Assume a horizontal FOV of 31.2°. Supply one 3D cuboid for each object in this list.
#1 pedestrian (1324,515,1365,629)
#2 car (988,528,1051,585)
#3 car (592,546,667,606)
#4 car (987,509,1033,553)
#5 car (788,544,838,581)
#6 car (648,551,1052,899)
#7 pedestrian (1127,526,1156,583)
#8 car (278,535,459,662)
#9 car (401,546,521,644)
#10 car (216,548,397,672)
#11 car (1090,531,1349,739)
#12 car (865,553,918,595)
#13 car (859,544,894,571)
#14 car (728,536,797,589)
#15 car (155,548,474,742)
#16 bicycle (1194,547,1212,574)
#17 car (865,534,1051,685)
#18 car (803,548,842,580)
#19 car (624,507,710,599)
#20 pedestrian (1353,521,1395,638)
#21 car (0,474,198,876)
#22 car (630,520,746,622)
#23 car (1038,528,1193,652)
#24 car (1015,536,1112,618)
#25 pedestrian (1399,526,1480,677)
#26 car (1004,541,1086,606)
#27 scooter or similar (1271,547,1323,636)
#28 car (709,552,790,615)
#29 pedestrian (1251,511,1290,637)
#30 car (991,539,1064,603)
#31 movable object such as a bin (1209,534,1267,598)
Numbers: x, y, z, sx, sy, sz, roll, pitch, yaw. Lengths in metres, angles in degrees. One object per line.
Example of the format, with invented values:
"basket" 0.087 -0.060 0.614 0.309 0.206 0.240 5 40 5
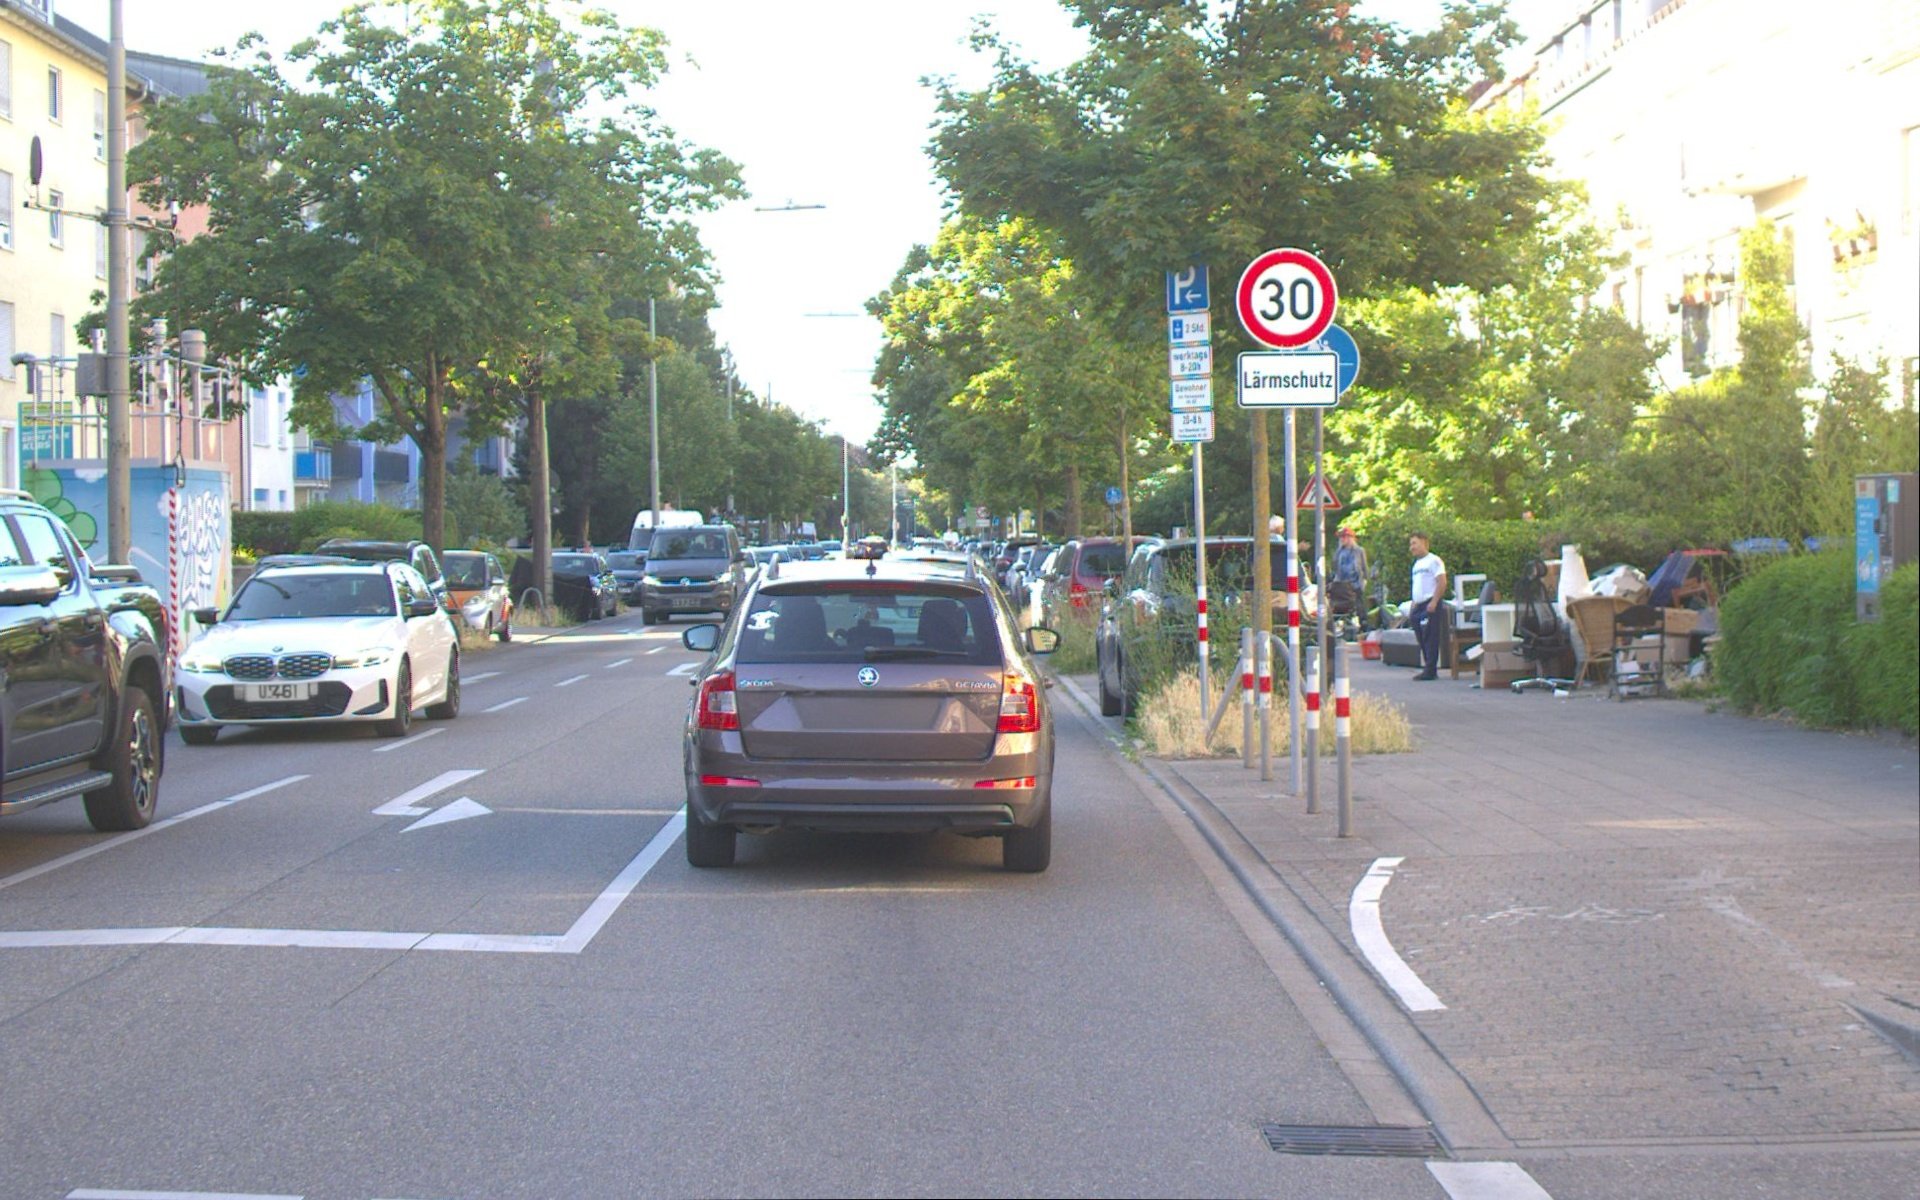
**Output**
"pedestrian" 5.695 -0.419 50.979 0.510 1.691 0.527 0 1 -5
"car" 1.967 -1.469 114.833 1.800 1.802 4.424 1 1 -3
"car" -8.633 -0.652 90.044 1.612 1.468 3.813 2 1 -1
"car" 2.015 -2.770 137.908 1.754 1.680 4.252 1 1 1
"car" -6.077 -1.577 142.155 1.700 1.465 4.294 -1 1 2
"car" -0.447 0.522 17.190 1.754 1.487 4.000 1 1 1
"pedestrian" 5.960 -1.482 112.641 0.799 1.854 0.950 -1 1 11
"car" -8.445 -0.055 49.430 1.784 1.727 4.617 0 1 0
"car" -8.478 -0.105 58.598 1.499 1.611 2.861 0 1 3
"car" -8.418 0.096 44.568 1.682 1.516 4.191 0 1 -2
"car" 2.113 0.237 28.986 1.792 1.626 4.030 0 1 -1
"car" -2.552 -0.966 127.214 1.780 1.475 3.971 1 1 -4
"car" -5.552 -2.840 227.978 1.993 1.744 4.001 -1 1 -6
"car" -5.964 -1.151 104.149 1.832 1.465 4.452 -3 1 -1
"car" -5.428 0.323 29.479 1.836 1.468 4.671 -2 1 0
"bicycle" 8.560 -1.405 121.290 0.475 0.941 1.680 -1 1 -1
"car" -0.056 0.102 38.351 1.892 1.501 3.790 3 0 -1
"car" -6.988 -1.840 174.451 1.879 1.537 4.268 0 1 -3
"car" -8.600 -1.406 101.403 1.993 2.607 7.106 1 1 -1
"pedestrian" 6.028 -0.306 50.036 0.510 1.691 0.527 0 1 -5
"car" -5.298 0.350 16.868 1.862 1.823 5.227 -2 1 0
"car" -5.572 -0.616 70.894 1.993 1.939 4.778 -2 1 -1
"car" 2.129 -0.174 48.227 1.721 1.650 4.598 0 1 -3
"car" 2.101 -0.494 70.652 1.874 1.575 4.820 -2 1 1
"pedestrian" 5.028 0.011 36.061 0.555 1.562 0.748 -1 1 -18
"car" 1.982 -0.645 81.142 1.718 1.489 4.394 0 1 -1
"scooter or similar" 4.981 -0.128 50.813 0.746 1.313 0.721 0 1 6
"car" -5.248 -0.438 86.096 1.815 1.441 4.111 -3 1 -2
"pedestrian" 4.594 -0.390 50.855 0.548 1.843 0.764 0 1 6
"car" 1.704 -0.767 88.355 1.718 1.595 4.096 0 1 -1
"movable object such as a bin" 6.824 -0.843 84.373 1.267 1.487 1.139 -2 1 10
